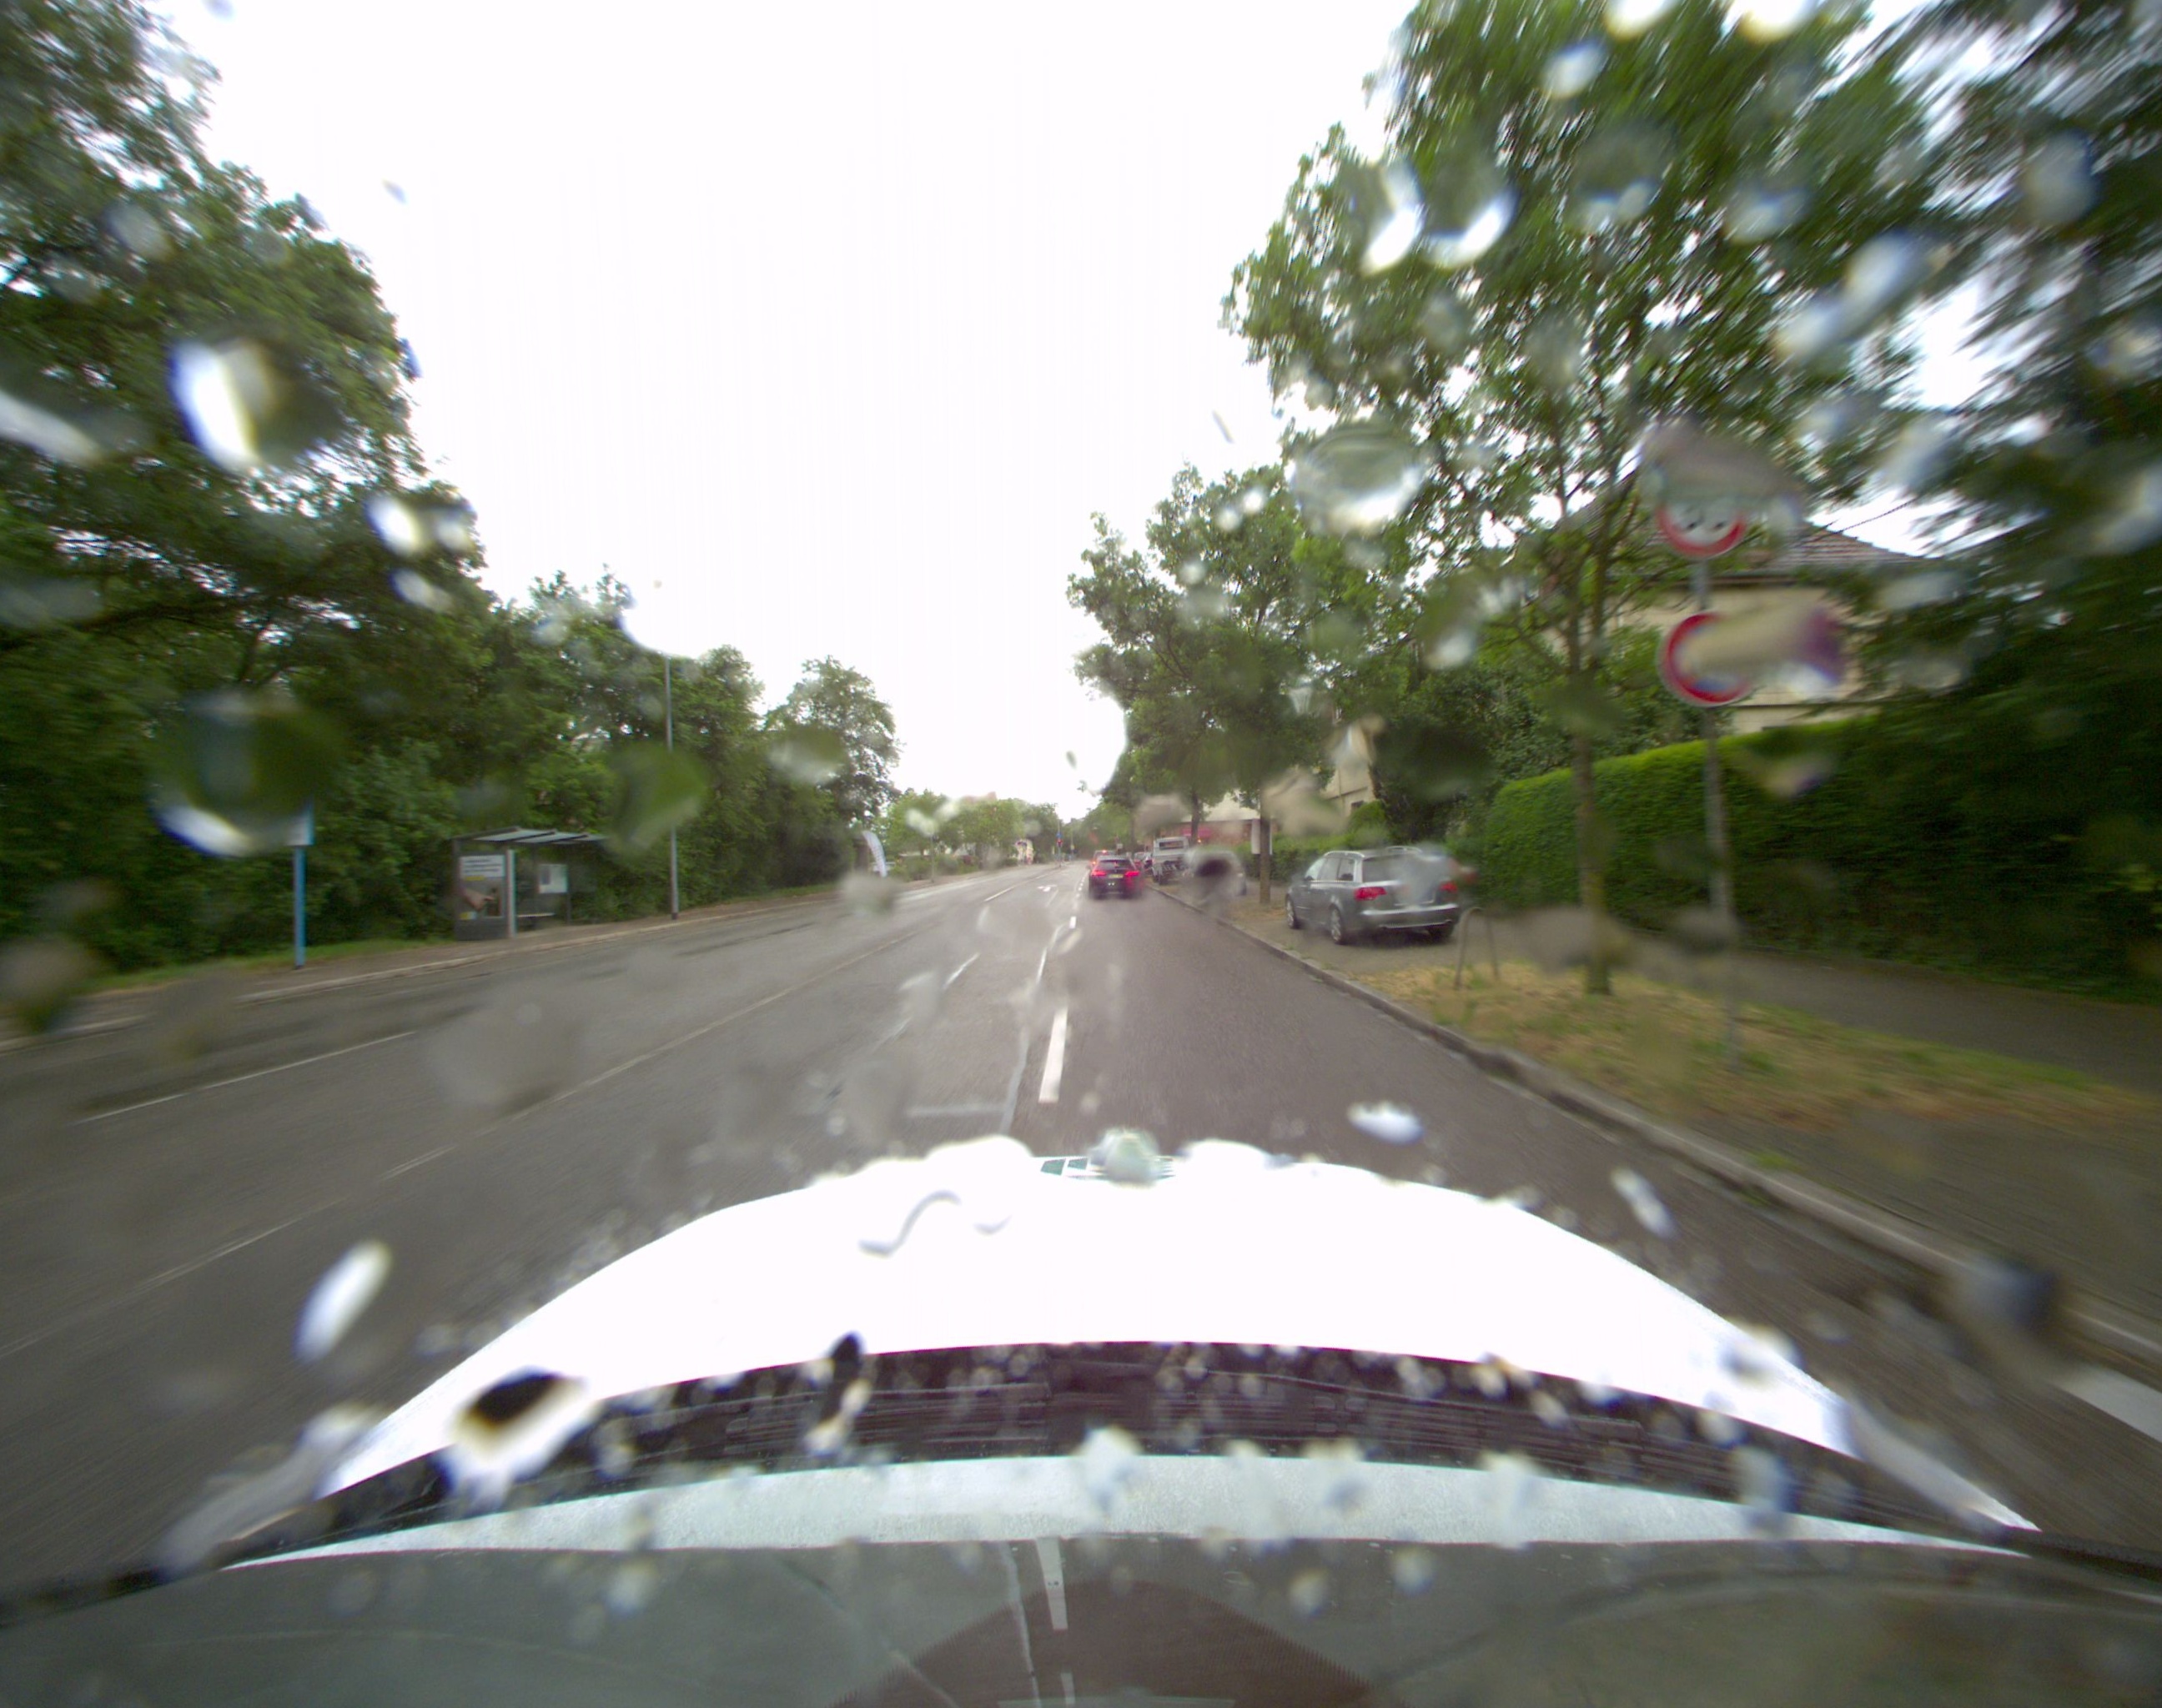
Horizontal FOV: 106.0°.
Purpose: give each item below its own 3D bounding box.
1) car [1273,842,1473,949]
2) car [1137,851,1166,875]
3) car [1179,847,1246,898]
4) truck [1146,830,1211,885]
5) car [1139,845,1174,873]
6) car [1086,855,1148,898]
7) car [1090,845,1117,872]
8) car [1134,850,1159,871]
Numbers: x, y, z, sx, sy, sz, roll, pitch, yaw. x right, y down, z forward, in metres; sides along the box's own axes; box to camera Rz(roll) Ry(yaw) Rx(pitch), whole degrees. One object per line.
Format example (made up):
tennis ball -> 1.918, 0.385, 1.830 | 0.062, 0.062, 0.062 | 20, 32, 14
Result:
car -> 4.657, 0.573, 13.758 | 1.683, 1.389, 4.499 | -4, 0, 0
car -> 4.770, 0.578, 55.706 | 1.599, 1.472, 3.857 | -5, 0, 1
car -> 4.323, 0.555, 27.317 | 1.596, 1.436, 4.023 | -5, 1, 1
truck -> 4.454, 0.149, 38.268 | 2.073, 2.221, 6.500 | -5, 0, 0
car -> 4.564, 0.286, 49.625 | 1.708, 1.498, 4.184 | -5, 0, 1
car -> 1.259, 0.782, 30.387 | 2.058, 1.446, 4.481 | -1, 0, -1
car -> 1.578, 0.327, 58.029 | 1.778, 1.817, 3.999 | -2, 0, 0
car -> 5.204, 0.525, 65.204 | 1.579, 1.490, 3.626 | -5, 0, -1
